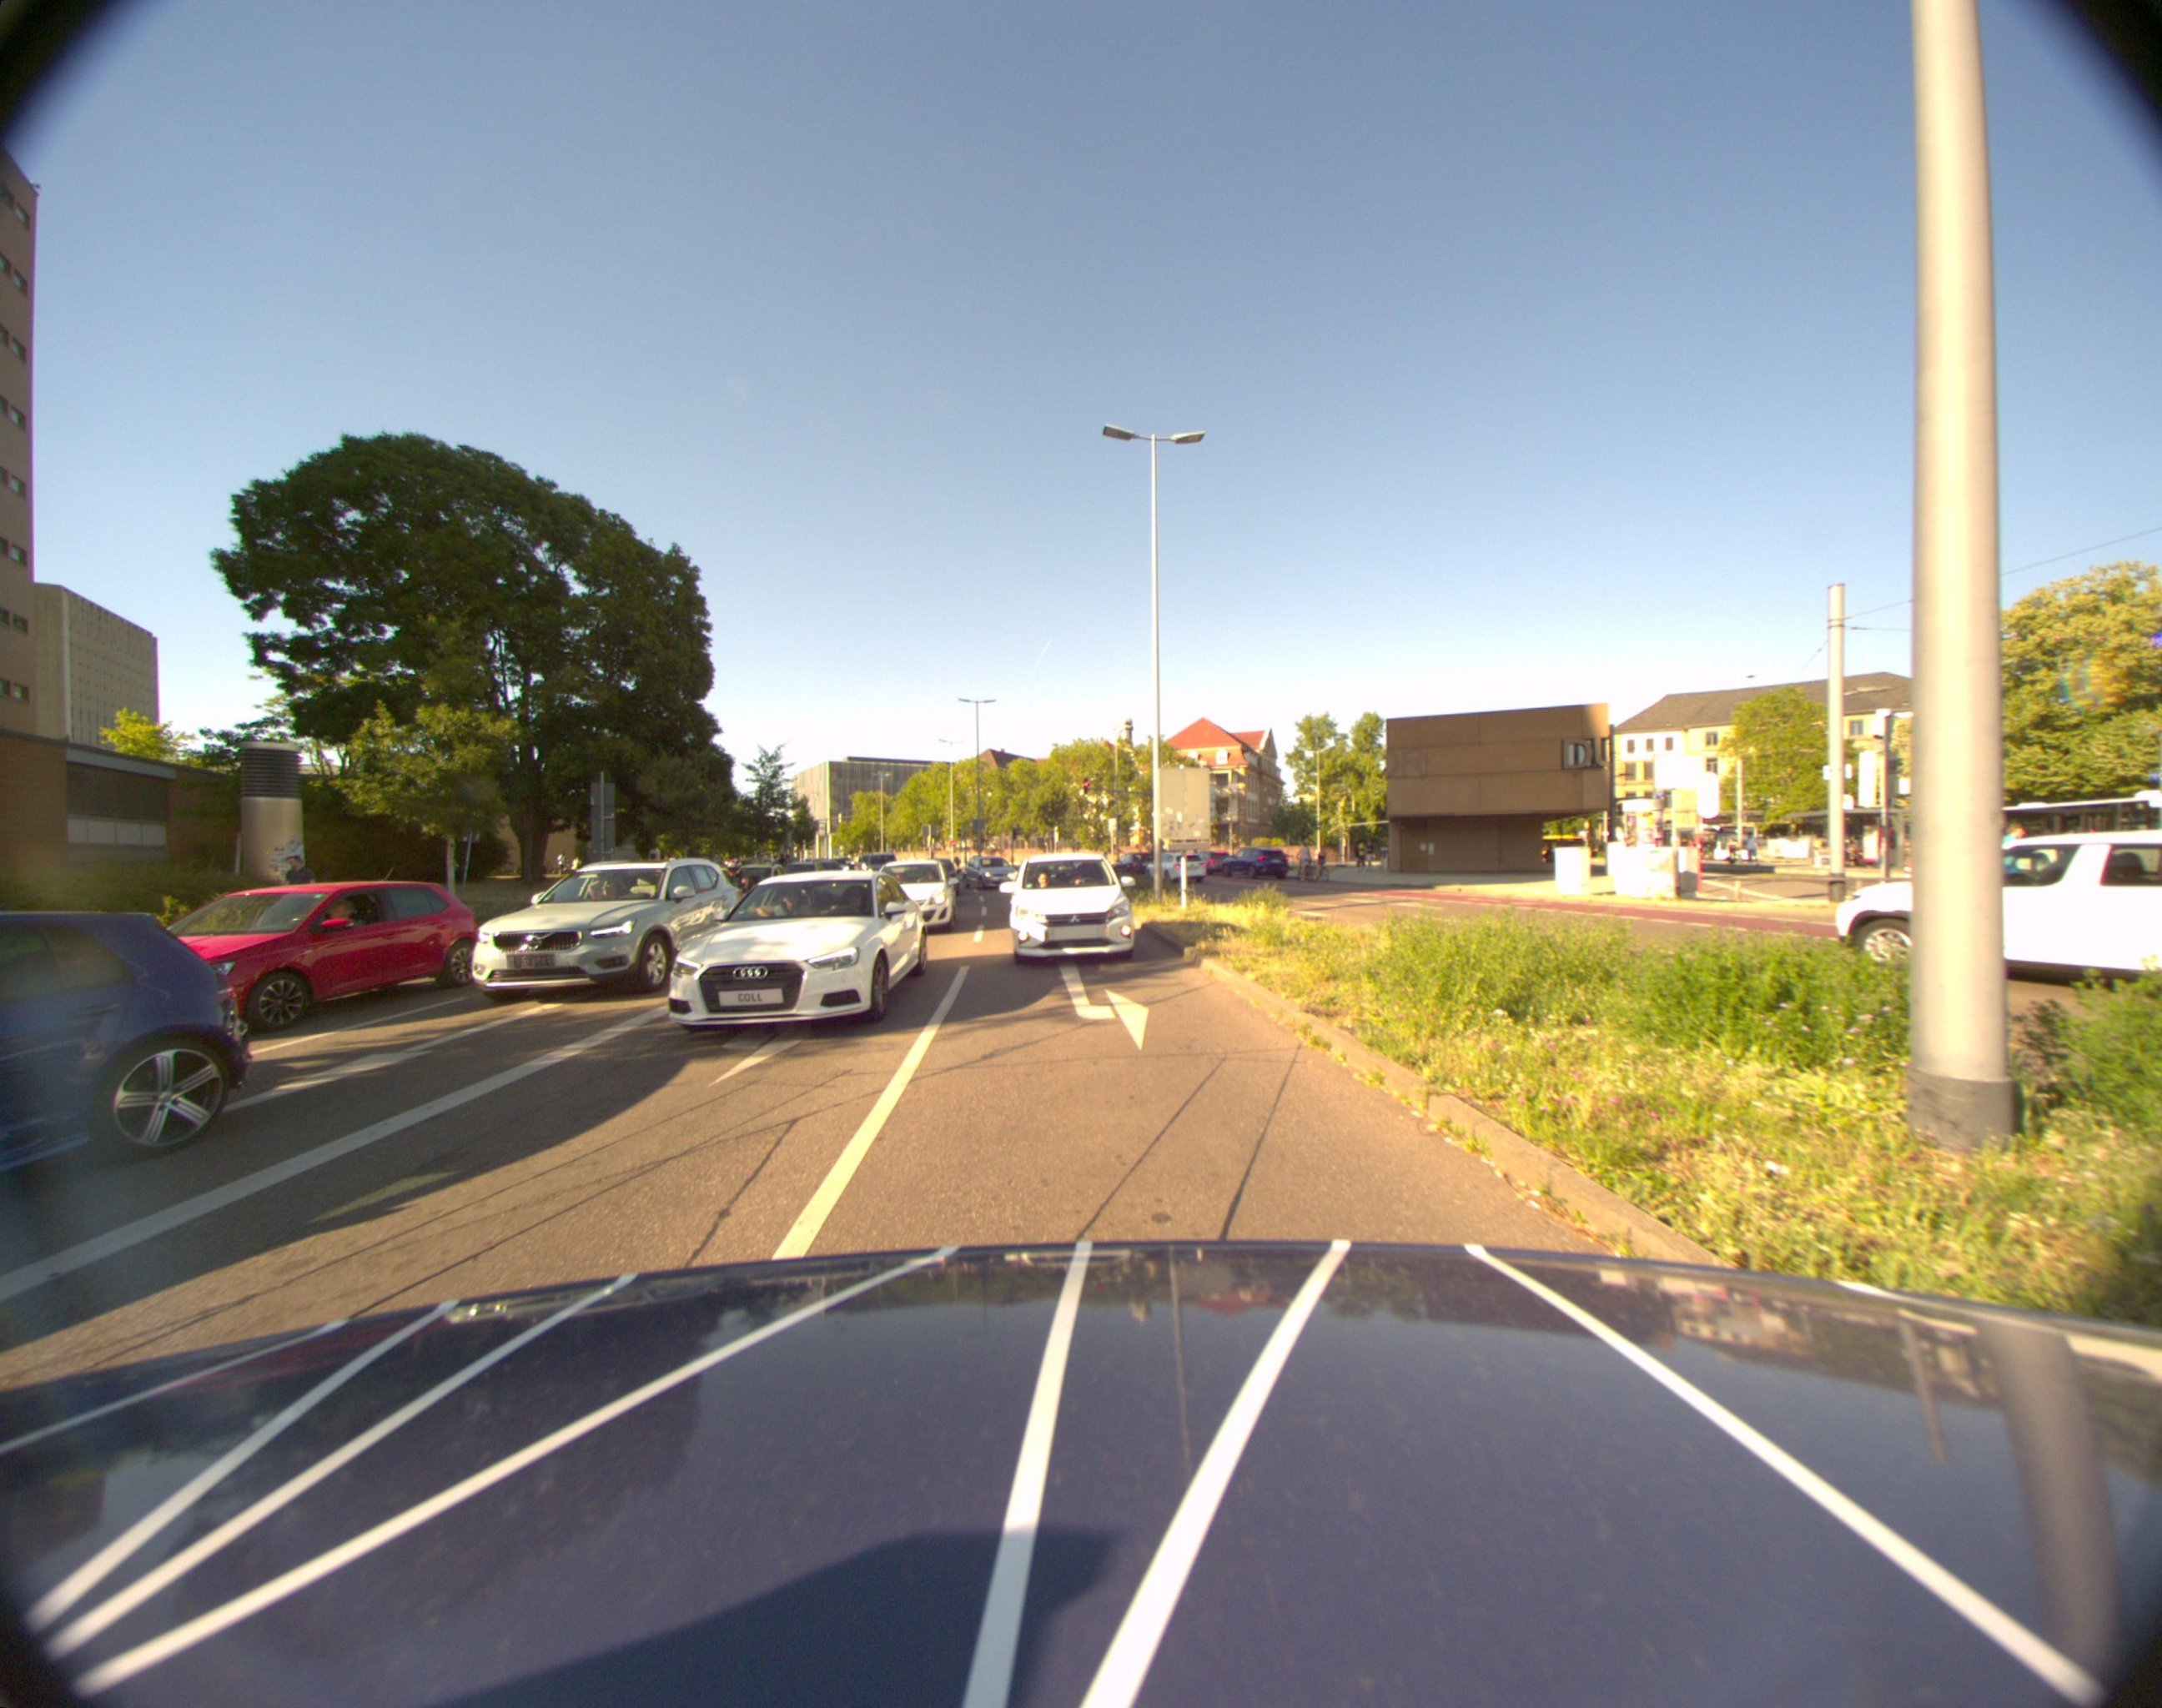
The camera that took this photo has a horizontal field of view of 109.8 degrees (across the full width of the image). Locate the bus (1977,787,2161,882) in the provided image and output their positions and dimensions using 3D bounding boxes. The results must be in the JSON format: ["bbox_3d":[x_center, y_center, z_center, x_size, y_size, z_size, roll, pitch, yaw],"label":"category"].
[{"bbox_3d":[37.839,-0.784,27.005,2.695,3.133,12.192,-2,1,24],"label":"bus"}]

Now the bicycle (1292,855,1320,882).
[{"bbox_3d":[10.387,0.672,35.042,0.465,1.185,1.395,-3,2,-20],"label":"bicycle"}]

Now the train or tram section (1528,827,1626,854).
[{"bbox_3d":[61.692,-1.698,94.635,10.099,2.907,2.001,-2,2,12],"label":"train or tram section"}]

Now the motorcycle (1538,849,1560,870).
[{"bbox_3d":[24.444,0.274,39.673,0.948,1.061,0.331,-1,2,36],"label":"motorcycle"}]

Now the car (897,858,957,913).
[{"bbox_3d":[-4.791,0.910,24.083,1.629,1.451,4.038,-3,1,-9],"label":"car"}]

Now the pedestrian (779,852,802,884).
[{"bbox_3d":[-18.989,0.882,49.713,1.143,2.002,1.285,-3,2,-13],"label":"pedestrian"}]

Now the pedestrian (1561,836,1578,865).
[{"bbox_3d":[33.358,-0.238,51.899,0.780,2.002,0.771,-4,2,-44],"label":"pedestrian"}]

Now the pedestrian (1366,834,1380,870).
[{"bbox_3d":[16.465,-0.098,42.877,0.655,2.002,0.469,-2,2,18],"label":"pedestrian"}]

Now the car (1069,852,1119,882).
[{"bbox_3d":[0.625,0.672,41.277,1.757,1.451,4.184,-3,1,-12],"label":"car"}]

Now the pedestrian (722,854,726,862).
[{"bbox_3d":[-62.068,0.723,132.001,0.410,1.477,0.485,-1,1,-2],"label":"pedestrian"}]

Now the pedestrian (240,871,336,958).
[{"bbox_3d":[-16.822,1.258,16.155,1.010,1.711,0.884,-3,2,-13],"label":"pedestrian"}]

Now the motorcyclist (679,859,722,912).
[{"bbox_3d":[-9.775,0.793,19.554,0.718,1.298,0.735,-3,2,-6],"label":"motorcyclist"}]

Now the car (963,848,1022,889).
[{"bbox_3d":[-3.996,0.613,33.858,1.748,1.696,3.993,-1,1,-19],"label":"car"}]

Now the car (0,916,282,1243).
[{"bbox_3d":[-5.847,1.160,2.771,1.628,1.396,3.998,-2,1,-2],"label":"car"}]

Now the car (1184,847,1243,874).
[{"bbox_3d":[7.690,0.368,44.512,1.851,1.483,4.386,1,0,-13],"label":"car"}]

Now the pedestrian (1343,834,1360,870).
[{"bbox_3d":[15.538,-0.125,43.698,0.777,2.002,0.773,-2,2,11],"label":"pedestrian"}]

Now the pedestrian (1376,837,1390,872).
[{"bbox_3d":[17.381,0.015,43.753,0.655,2.002,0.469,-2,2,18],"label":"pedestrian"}]

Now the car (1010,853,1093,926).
[{"bbox_3d":[-0.723,0.765,18.684,1.755,1.451,4.187,-2,1,-2],"label":"car"}]

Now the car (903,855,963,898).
[{"bbox_3d":[-5.892,0.823,29.850,1.748,1.536,3.993,-1,1,-19],"label":"car"}]

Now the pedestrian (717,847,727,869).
[{"bbox_3d":[-25.758,0.275,54.473,0.548,1.597,0.603,-3,2,-21],"label":"pedestrian"}]

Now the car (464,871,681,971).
[{"bbox_3d":[-9.576,1.165,14.752,1.628,1.451,4.039,-3,1,-4],"label":"car"}]

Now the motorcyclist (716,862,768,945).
[{"bbox_3d":[-6.846,0.982,15.378,0.711,1.581,0.689,-3,2,-6],"label":"motorcyclist"}]

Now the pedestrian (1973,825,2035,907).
[{"bbox_3d":[21.745,0.283,17.915,0.797,1.886,0.612,0,1,38],"label":"pedestrian"}]

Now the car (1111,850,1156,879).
[{"bbox_3d":[2.932,0.536,42.897,1.756,1.451,4.185,-3,1,-6],"label":"car"}]

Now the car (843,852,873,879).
[{"bbox_3d":[-15.576,0.746,53.109,1.880,1.805,3.994,-1,1,-16],"label":"car"}]

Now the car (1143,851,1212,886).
[{"bbox_3d":[4.578,0.663,36.792,1.851,1.483,4.386,-3,1,-13],"label":"car"}]

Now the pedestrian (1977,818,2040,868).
[{"bbox_3d":[32.439,-0.391,26.599,1.041,1.674,1.005,-2,2,22],"label":"pedestrian"}]

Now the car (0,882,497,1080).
[{"bbox_3d":[-8.968,1.189,8.674,1.628,1.451,4.039,-3,1,-4],"label":"car"}]

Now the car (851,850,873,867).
[{"bbox_3d":[-24.297,0.535,84.117,1.881,1.805,3.992,-1,1,-22],"label":"car"}]

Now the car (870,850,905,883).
[{"bbox_3d":[-11.520,0.704,45.045,1.880,1.805,3.994,-1,1,-16],"label":"car"}]

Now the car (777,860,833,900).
[{"bbox_3d":[-12.087,1.092,33.452,1.747,1.536,3.995,-1,1,-12],"label":"car"}]

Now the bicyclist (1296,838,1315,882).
[{"bbox_3d":[10.317,0.282,34.992,0.611,2.002,0.565,-1,1,-18],"label":"bicyclist"}]

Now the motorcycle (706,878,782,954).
[{"bbox_3d":[-6.864,1.217,15.619,0.718,1.297,2.233,-3,1,-6],"label":"motorcycle"}]

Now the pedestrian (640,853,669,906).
[{"bbox_3d":[-15.544,0.932,27.676,0.464,1.875,0.696,-2,2,15],"label":"pedestrian"}]

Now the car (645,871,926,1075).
[{"bbox_3d":[-2.728,0.988,7.974,1.628,1.396,3.831,-3,1,-4],"label":"car"}]

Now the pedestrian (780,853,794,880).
[{"bbox_3d":[-17.443,0.721,45.044,0.596,1.586,0.594,-3,2,-11],"label":"pedestrian"}]

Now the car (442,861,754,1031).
[{"bbox_3d":[-6.024,0.995,10.180,1.628,1.612,4.221,-3,1,-4],"label":"car"}]

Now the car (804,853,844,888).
[{"bbox_3d":[-14.215,0.883,42.136,1.880,1.805,3.994,-1,1,-16],"label":"car"}]

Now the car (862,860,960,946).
[{"bbox_3d":[-3.499,0.925,16.266,1.629,1.451,4.038,-3,1,-8],"label":"car"}]

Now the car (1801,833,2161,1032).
[{"bbox_3d":[10.056,0.658,7.526,1.786,1.652,3.996,-3,1,-8],"label":"car"}]

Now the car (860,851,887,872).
[{"bbox_3d":[-19.053,0.667,69.621,1.881,1.805,3.992,-1,1,-22],"label":"car"}]

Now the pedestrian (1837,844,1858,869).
[{"bbox_3d":[37.774,0.119,37.445,0.539,1.180,0.659,-2,2,26],"label":"pedestrian"}]

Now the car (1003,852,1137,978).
[{"bbox_3d":[-0.277,0.760,11.611,1.628,1.451,4.039,-3,1,-4],"label":"car"}]

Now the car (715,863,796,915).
[{"bbox_3d":[-10.828,1.100,25.547,1.747,1.516,3.995,-1,1,-12],"label":"car"}]

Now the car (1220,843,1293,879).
[{"bbox_3d":[8.899,0.310,38.841,1.758,1.680,4.182,-1,1,-17],"label":"car"}]

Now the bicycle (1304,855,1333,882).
[{"bbox_3d":[10.964,0.646,35.100,0.465,1.185,1.395,-3,2,-20],"label":"bicycle"}]

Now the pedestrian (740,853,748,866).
[{"bbox_3d":[-54.930,0.938,123.790,0.840,2.002,1.065,-4,2,-33],"label":"pedestrian"}]

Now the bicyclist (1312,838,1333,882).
[{"bbox_3d":[11.124,0.287,35.047,0.611,2.002,0.708,-1,1,-18],"label":"bicyclist"}]

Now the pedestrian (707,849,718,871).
[{"bbox_3d":[-26.315,0.430,54.264,0.548,1.521,0.603,-3,2,-21],"label":"pedestrian"}]

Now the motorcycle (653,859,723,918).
[{"bbox_3d":[-9.669,0.820,18.808,0.718,1.297,2.233,-3,1,-6],"label":"motorcycle"}]
